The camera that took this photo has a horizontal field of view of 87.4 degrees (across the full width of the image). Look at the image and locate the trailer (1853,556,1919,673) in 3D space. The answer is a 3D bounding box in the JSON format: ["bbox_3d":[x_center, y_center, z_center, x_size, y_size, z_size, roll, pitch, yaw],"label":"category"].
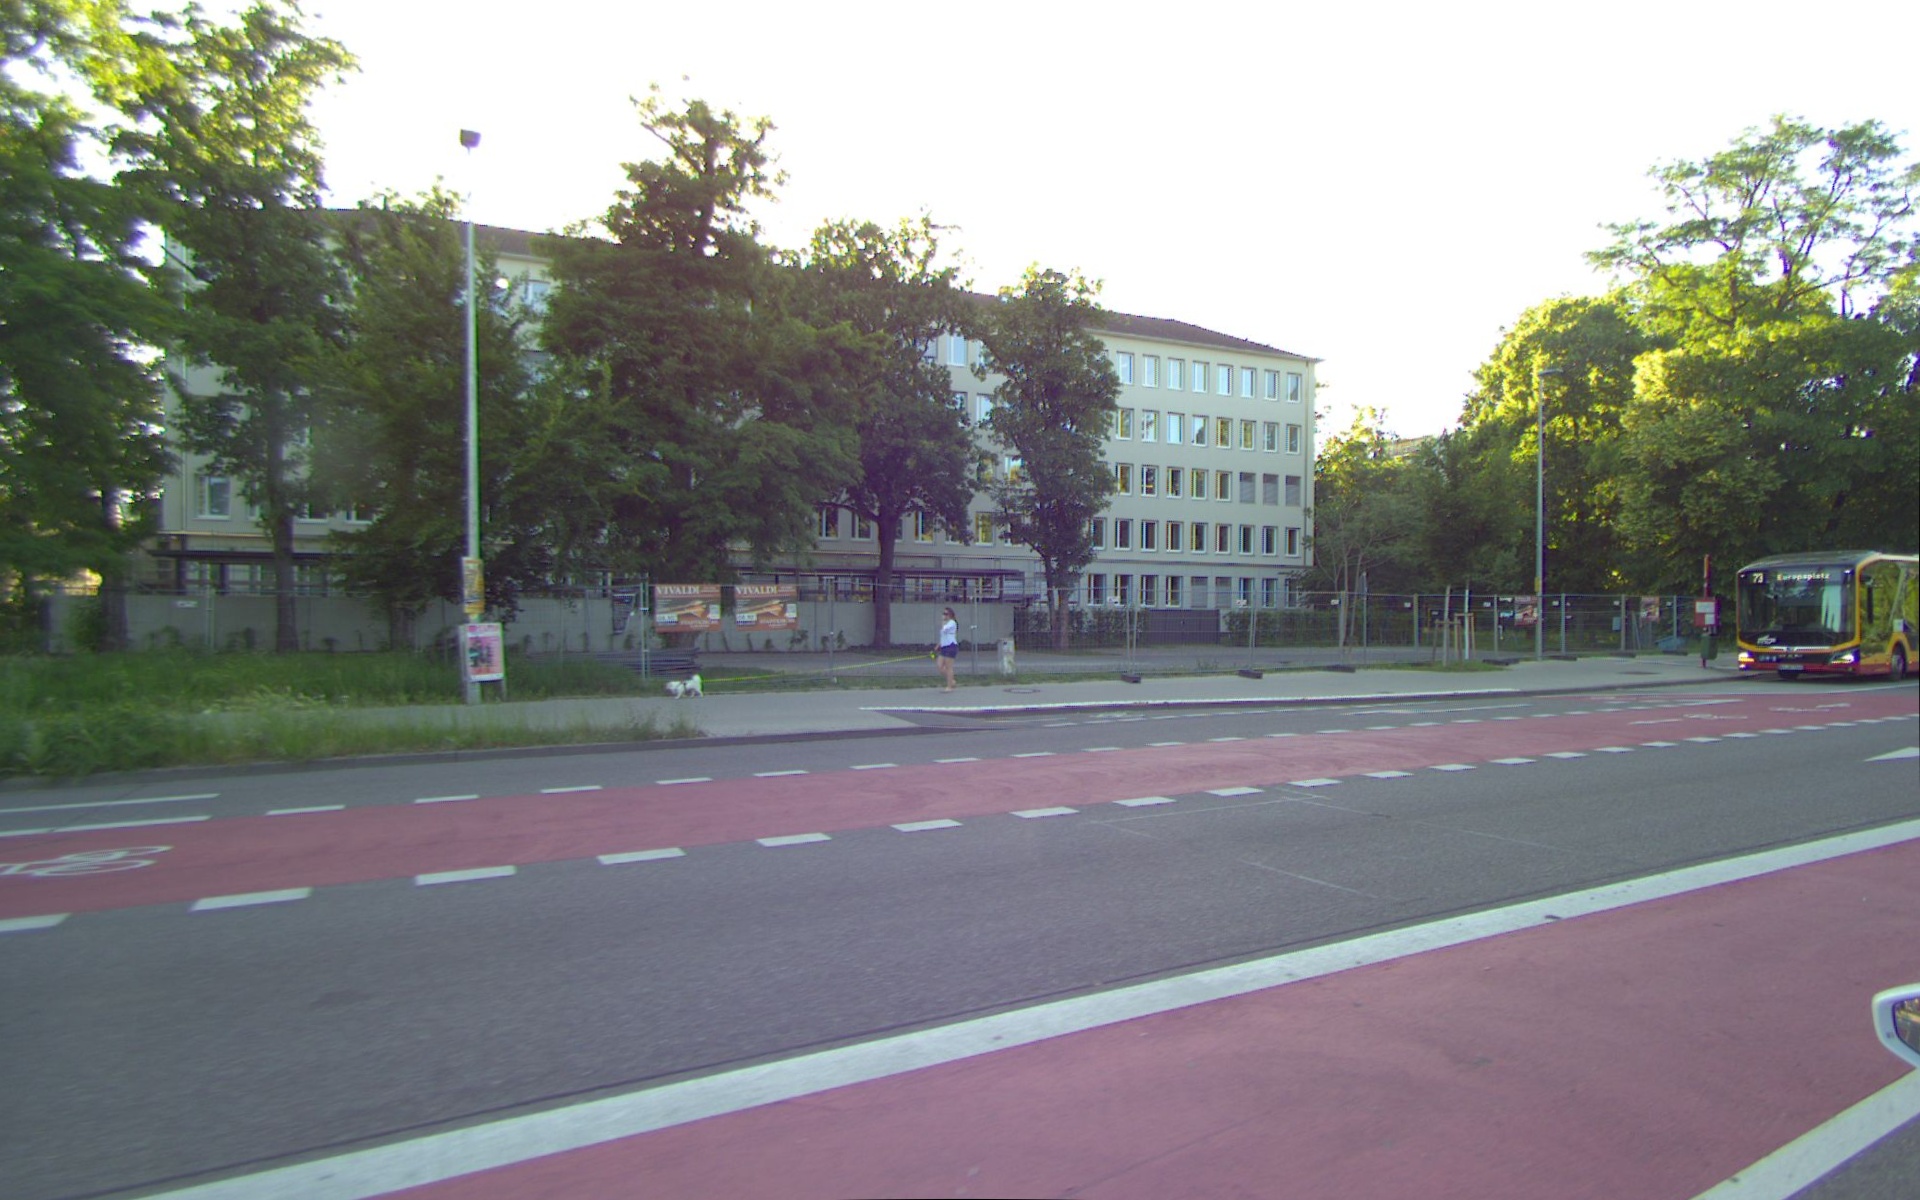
[{"bbox_3d":[31.994,0.497,31.619,9.248,3.400,2.842,1,1,-29],"label":"trailer"}]

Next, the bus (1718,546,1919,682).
[{"bbox_3d":[24.269,0.400,27.260,8.496,3.239,2.827,1,-1,-30],"label":"bus"}]

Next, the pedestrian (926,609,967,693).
[{"bbox_3d":[-0.257,0.957,19.106,0.565,1.554,0.448,1,3,-35],"label":"pedestrian"}]
